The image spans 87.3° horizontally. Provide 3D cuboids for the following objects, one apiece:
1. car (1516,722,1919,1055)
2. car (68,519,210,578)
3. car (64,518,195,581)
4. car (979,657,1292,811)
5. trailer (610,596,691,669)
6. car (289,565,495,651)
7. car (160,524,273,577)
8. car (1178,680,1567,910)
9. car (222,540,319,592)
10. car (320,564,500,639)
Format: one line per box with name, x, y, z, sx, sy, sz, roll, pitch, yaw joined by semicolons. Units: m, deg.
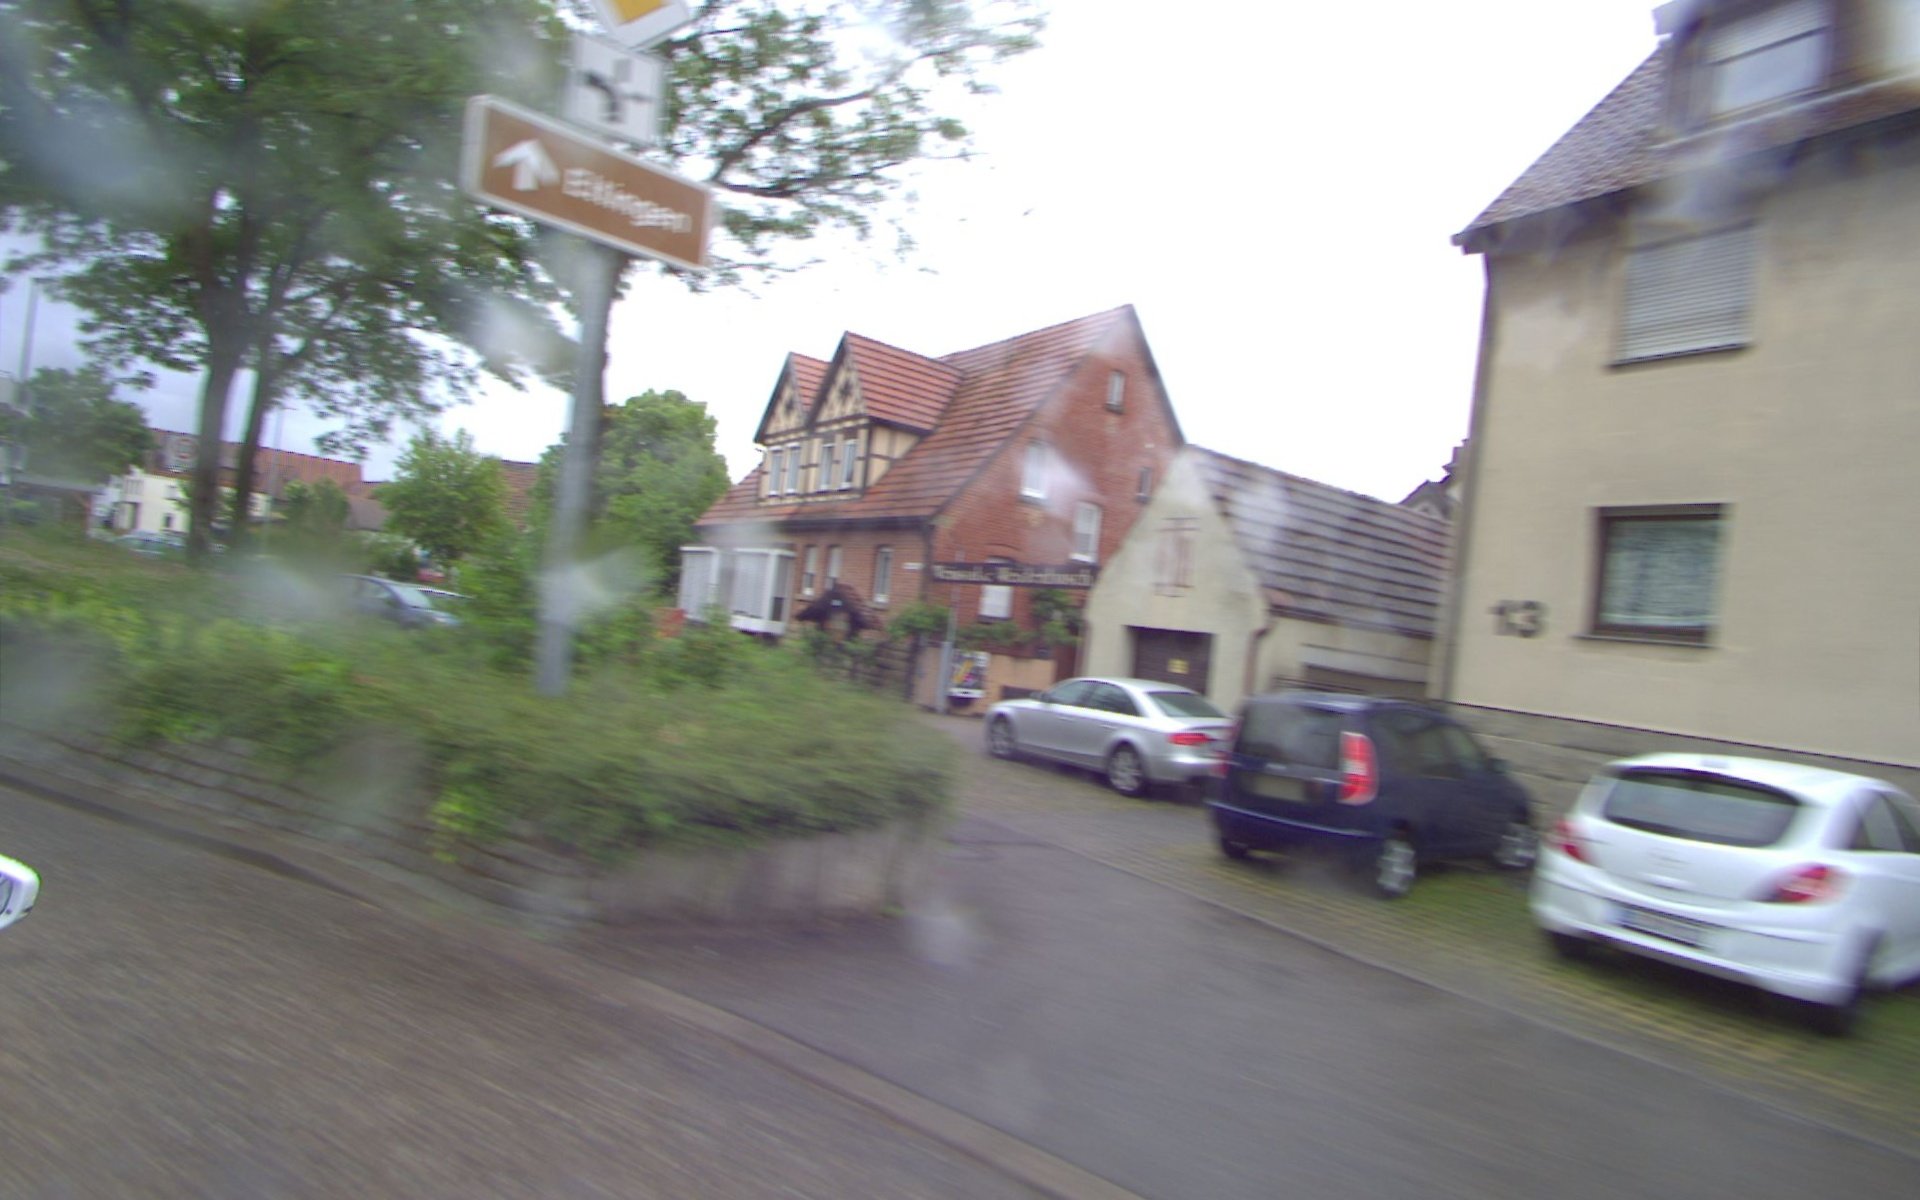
car;5.647;1.754;7.071;3.399;1.549;1.702;5;0;-36
car;-31.276;-1.954;38.413;3.976;1.472;1.924;11;-4;-41
car;-34.789;-2.088;42.292;3.972;1.902;1.821;11;-3;-38
car;2.287;1.796;14.226;1.890;1.456;4.229;8;-2;-33
trailer;-8.474;0.850;27.423;1.397;1.667;2.706;10;-3;-28
car;-12.919;0.215;23.023;3.665;1.406;1.626;8;-2;2
car;-34.579;-2.288;46.810;3.975;1.715;1.978;11;-3;-40
car;4.085;1.735;9.675;3.969;1.601;1.730;7;-2;-40
car;-26.271;-1.247;38.496;1.732;1.553;4.138;8;-3;-17
car;-14.838;0.072;27.378;3.947;1.405;1.617;9;-3;-21
